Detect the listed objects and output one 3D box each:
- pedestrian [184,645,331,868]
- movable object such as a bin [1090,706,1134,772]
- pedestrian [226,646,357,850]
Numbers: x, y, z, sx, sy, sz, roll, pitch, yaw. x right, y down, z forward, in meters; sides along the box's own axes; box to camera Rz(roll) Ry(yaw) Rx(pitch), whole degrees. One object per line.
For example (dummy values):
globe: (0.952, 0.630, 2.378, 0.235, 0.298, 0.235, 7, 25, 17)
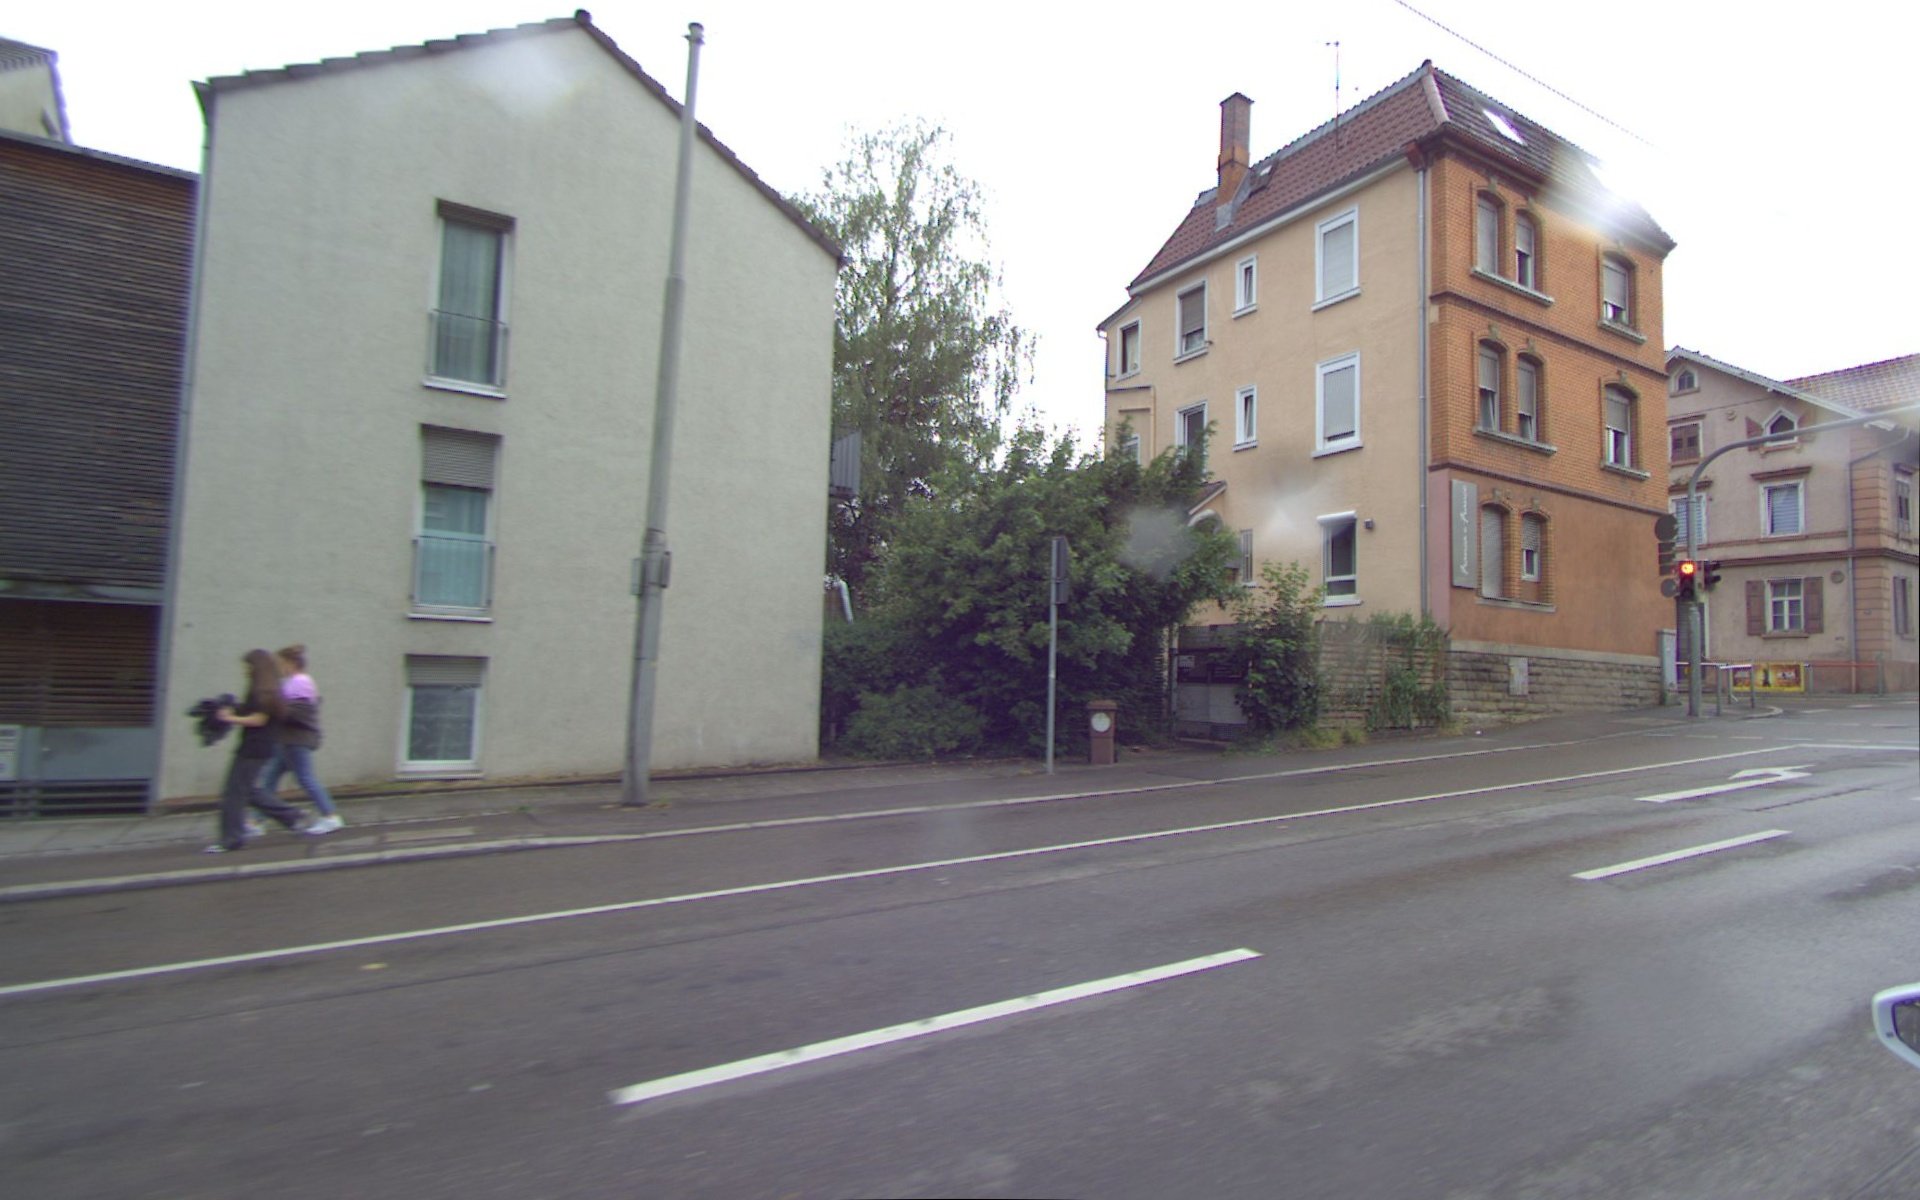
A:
pedestrian: (-5.803, 1.249, 8.358, 0.900, 1.728, 0.637, 1, -4, -30)
movable object such as a bin: (2.264, 2.067, 14.993, 0.521, 0.937, 0.406, 3, -4, -37)
pedestrian: (-5.991, 1.284, 9.059, 0.900, 1.728, 0.637, 1, -4, -30)
